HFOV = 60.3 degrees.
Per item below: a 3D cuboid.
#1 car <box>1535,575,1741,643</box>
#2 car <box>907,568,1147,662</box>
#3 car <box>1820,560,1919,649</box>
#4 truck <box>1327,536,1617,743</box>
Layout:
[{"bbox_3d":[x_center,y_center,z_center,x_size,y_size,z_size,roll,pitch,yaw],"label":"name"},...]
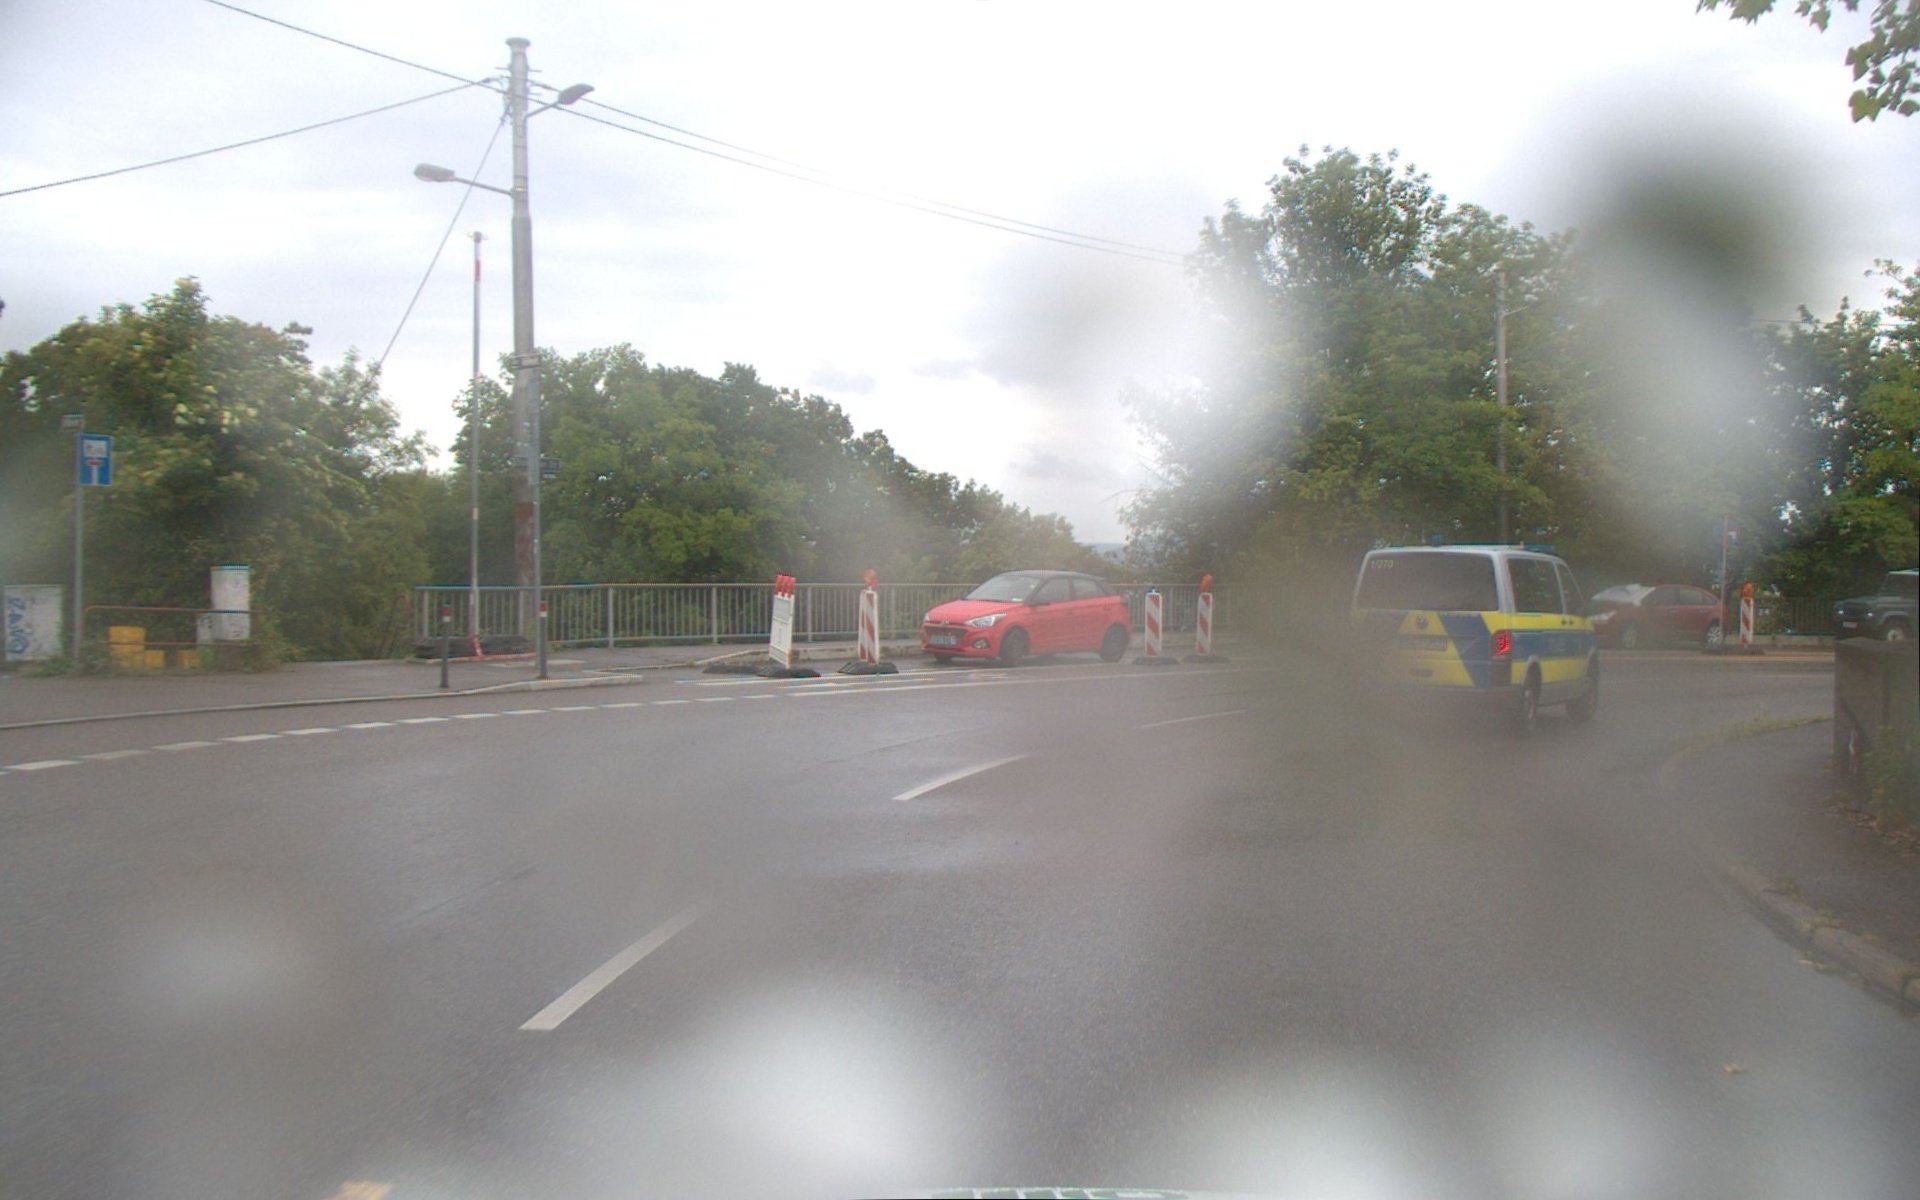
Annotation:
[{"bbox_3d":[15.764,0.209,38.474,4.247,1.465,1.954,1,2,-22],"label":"car"},{"bbox_3d":[1.170,0.233,27.340,1.662,1.422,4.108,2,0,44],"label":"car"},{"bbox_3d":[23.994,0.118,40.864,4.712,2.048,1.867,1,3,-11],"label":"car"},{"bbox_3d":[5.991,0.383,18.944,1.958,2.049,4.721,1,0,33],"label":"truck"}]
